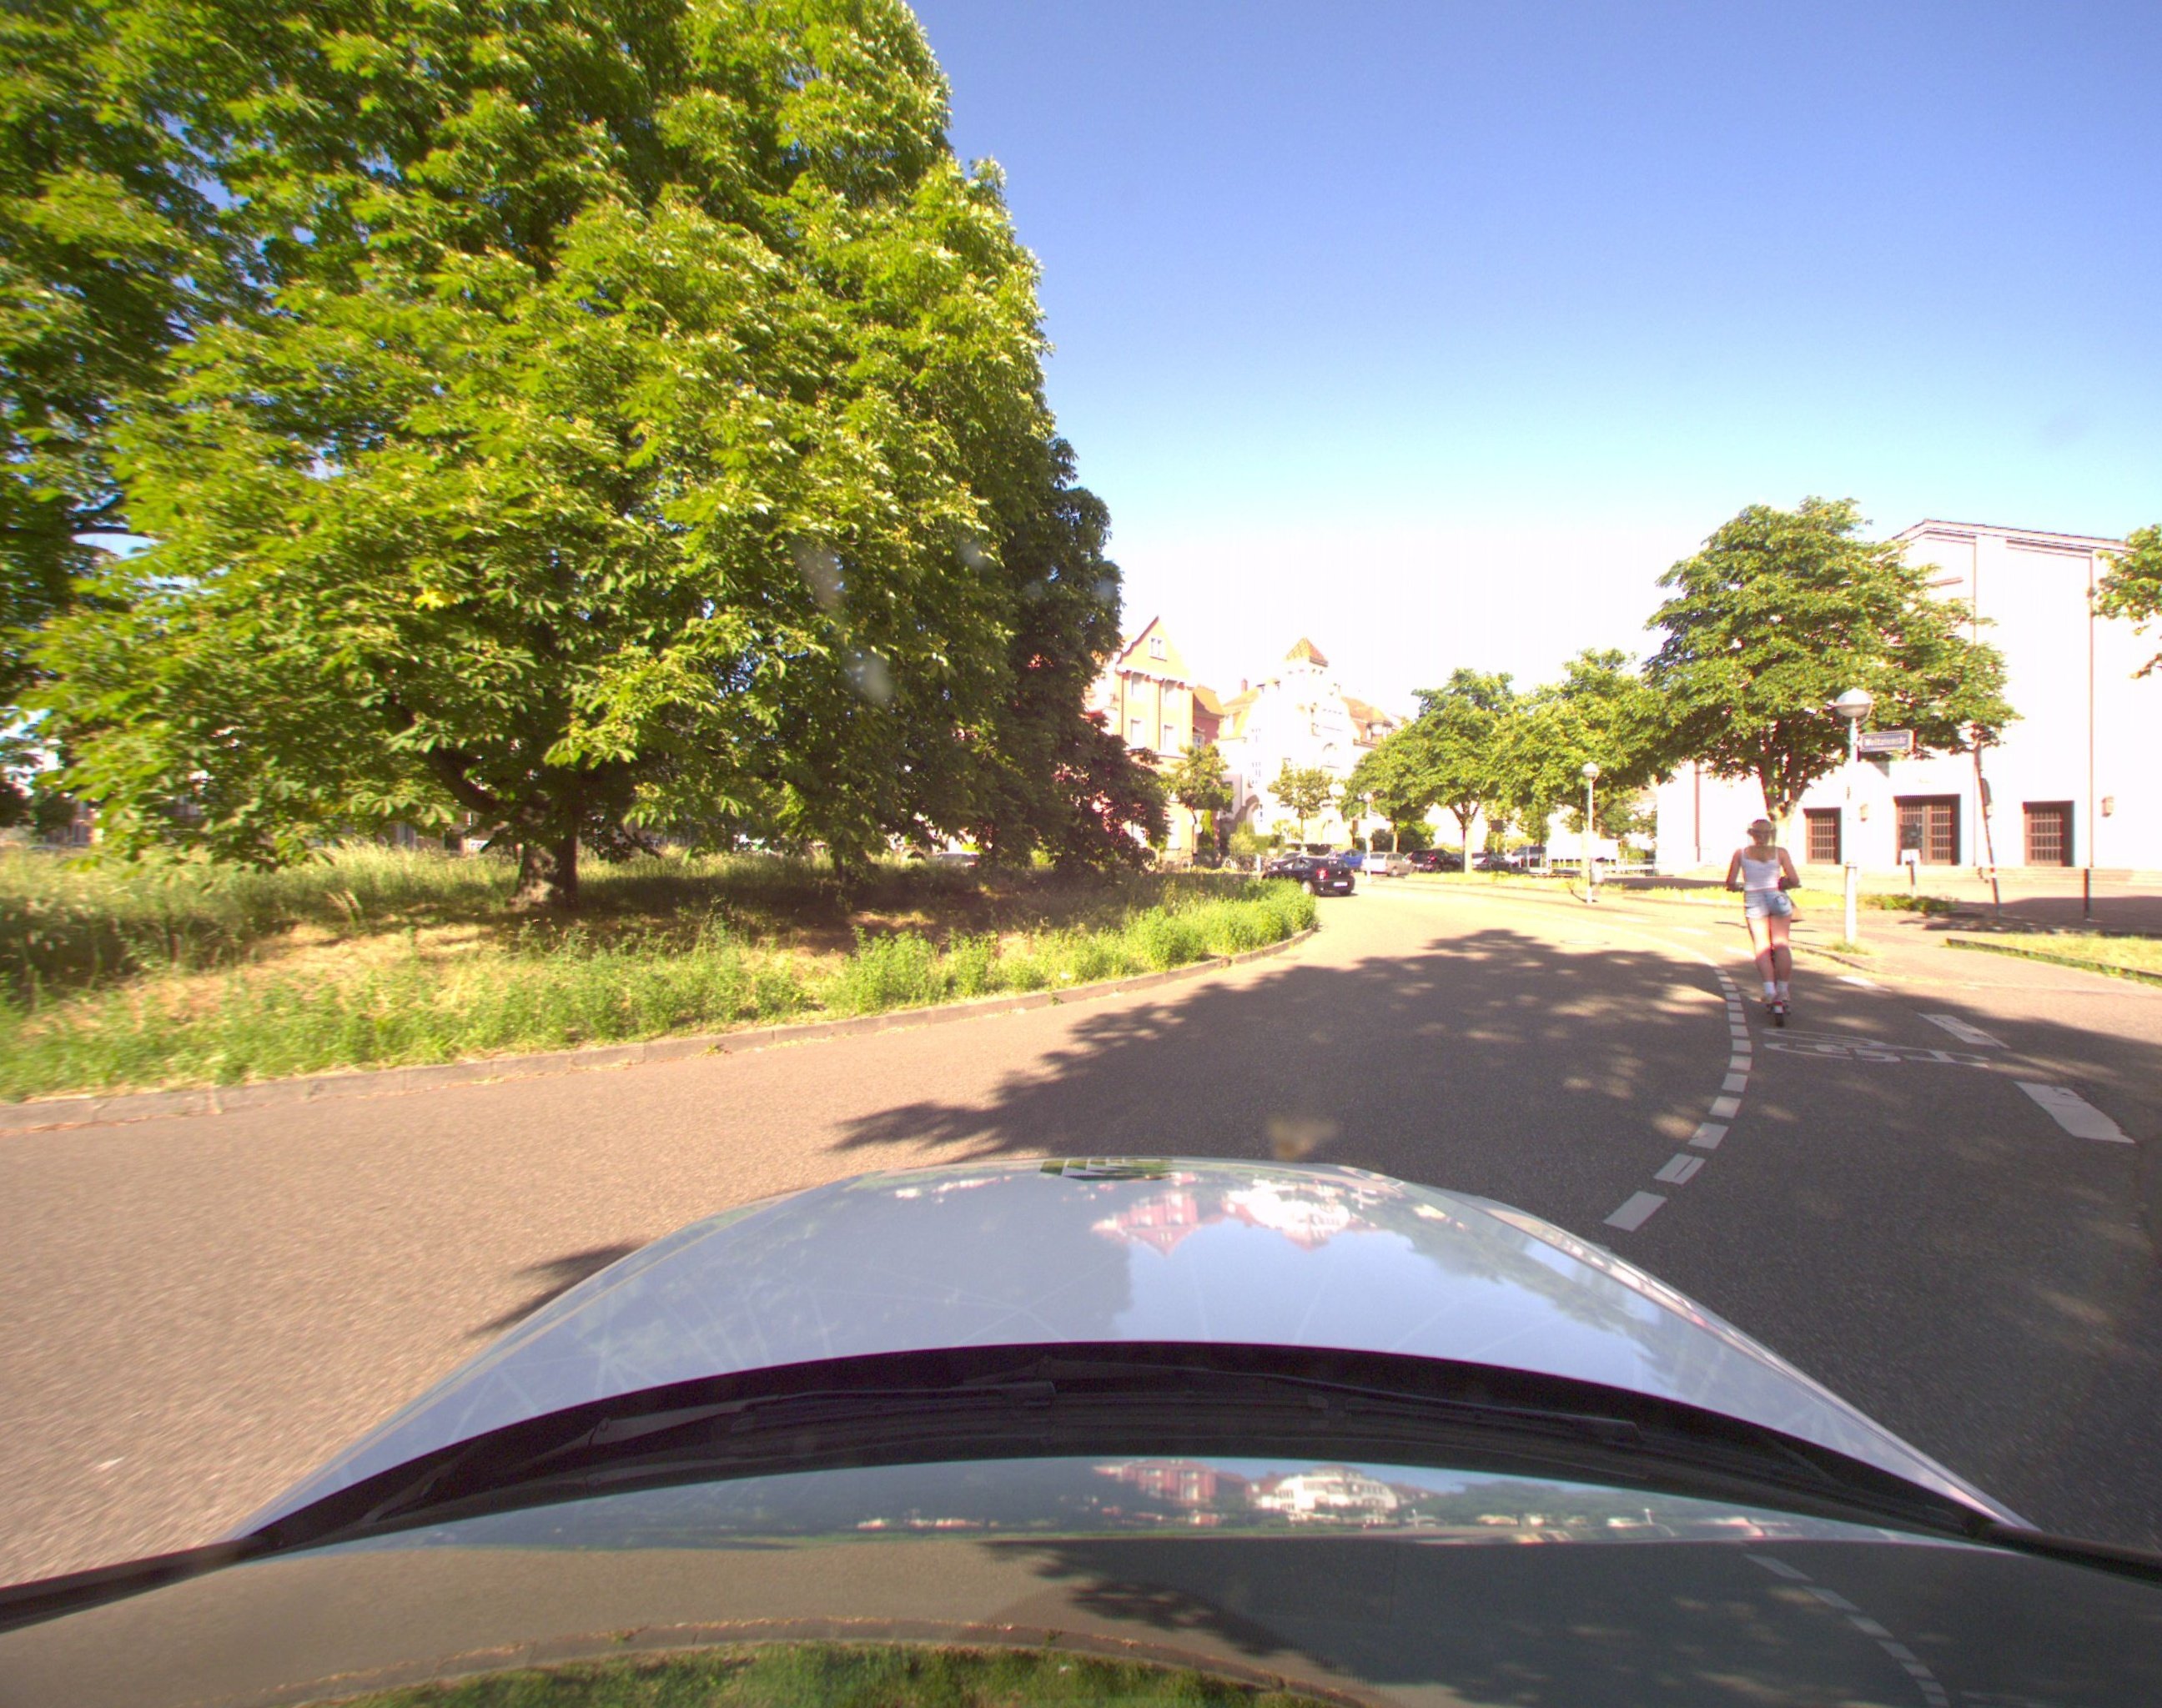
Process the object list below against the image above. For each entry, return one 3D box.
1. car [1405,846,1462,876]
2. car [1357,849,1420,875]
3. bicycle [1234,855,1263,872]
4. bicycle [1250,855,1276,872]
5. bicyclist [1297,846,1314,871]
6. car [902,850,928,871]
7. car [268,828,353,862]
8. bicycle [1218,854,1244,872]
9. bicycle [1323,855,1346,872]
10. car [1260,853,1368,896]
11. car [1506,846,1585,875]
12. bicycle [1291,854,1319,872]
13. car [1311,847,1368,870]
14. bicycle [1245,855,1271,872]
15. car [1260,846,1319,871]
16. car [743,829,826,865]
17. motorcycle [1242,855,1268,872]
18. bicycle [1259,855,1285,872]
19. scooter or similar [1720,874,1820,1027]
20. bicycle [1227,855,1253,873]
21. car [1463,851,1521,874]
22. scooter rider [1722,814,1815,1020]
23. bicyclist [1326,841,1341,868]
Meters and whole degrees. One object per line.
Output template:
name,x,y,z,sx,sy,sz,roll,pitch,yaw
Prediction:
car,21.521,0.428,49.654,1.787,1.728,4.364,1,1,44
car,17.547,0.426,46.335,1.787,1.415,4.364,1,1,44
bicycle,11.338,0.642,55.215,1.806,1.107,0.504,2,2,33
bicycle,12.656,0.657,56.619,0.504,1.107,1.706,0,2,-45
bicyclist,14.050,0.276,50.954,0.804,1.581,0.592,0,-1,-19
car,-11.884,0.438,58.181,1.684,1.446,3.530,2,0,-13
car,-45.515,-0.530,48.104,4.504,1.909,2.154,0,0,26
bicycle,9.940,0.621,54.110,0.549,1.115,1.707,0,2,-41
bicycle,16.459,0.619,52.879,1.726,1.107,0.638,1,-1,-42
car,8.248,0.676,29.221,1.869,1.419,3.977,-1,0,-17
car,34.067,0.430,59.840,4.720,2.001,1.820,1,1,44
bicycle,14.018,0.538,50.904,1.869,1.107,0.590,0,-1,-31
car,18.168,0.307,57.195,4.423,1.562,1.788,0,-2,-42
bicycle,12.170,0.657,56.151,1.705,1.107,0.504,3,2,42
car,13.727,0.286,53.458,1.787,1.483,4.364,-3,-2,43
car,-22.513,-0.539,61.686,6.297,2.600,2.116,1,0,27
motorcycle,11.883,0.662,55.667,1.705,1.107,0.504,3,2,42
bicycle,13.420,0.648,57.258,0.519,1.107,1.706,0,2,-45
scooter or similar,6.454,0.850,7.674,0.624,1.283,1.113,0,0,36
bicycle,10.665,0.640,54.713,0.549,1.115,1.707,0,2,-41
car,27.686,0.570,54.811,4.359,1.474,1.789,0,1,-39
scooter rider,6.456,0.554,7.673,0.617,1.832,0.636,0,0,36
bicyclist,16.359,0.017,52.781,0.727,1.714,0.638,1,-1,-41
